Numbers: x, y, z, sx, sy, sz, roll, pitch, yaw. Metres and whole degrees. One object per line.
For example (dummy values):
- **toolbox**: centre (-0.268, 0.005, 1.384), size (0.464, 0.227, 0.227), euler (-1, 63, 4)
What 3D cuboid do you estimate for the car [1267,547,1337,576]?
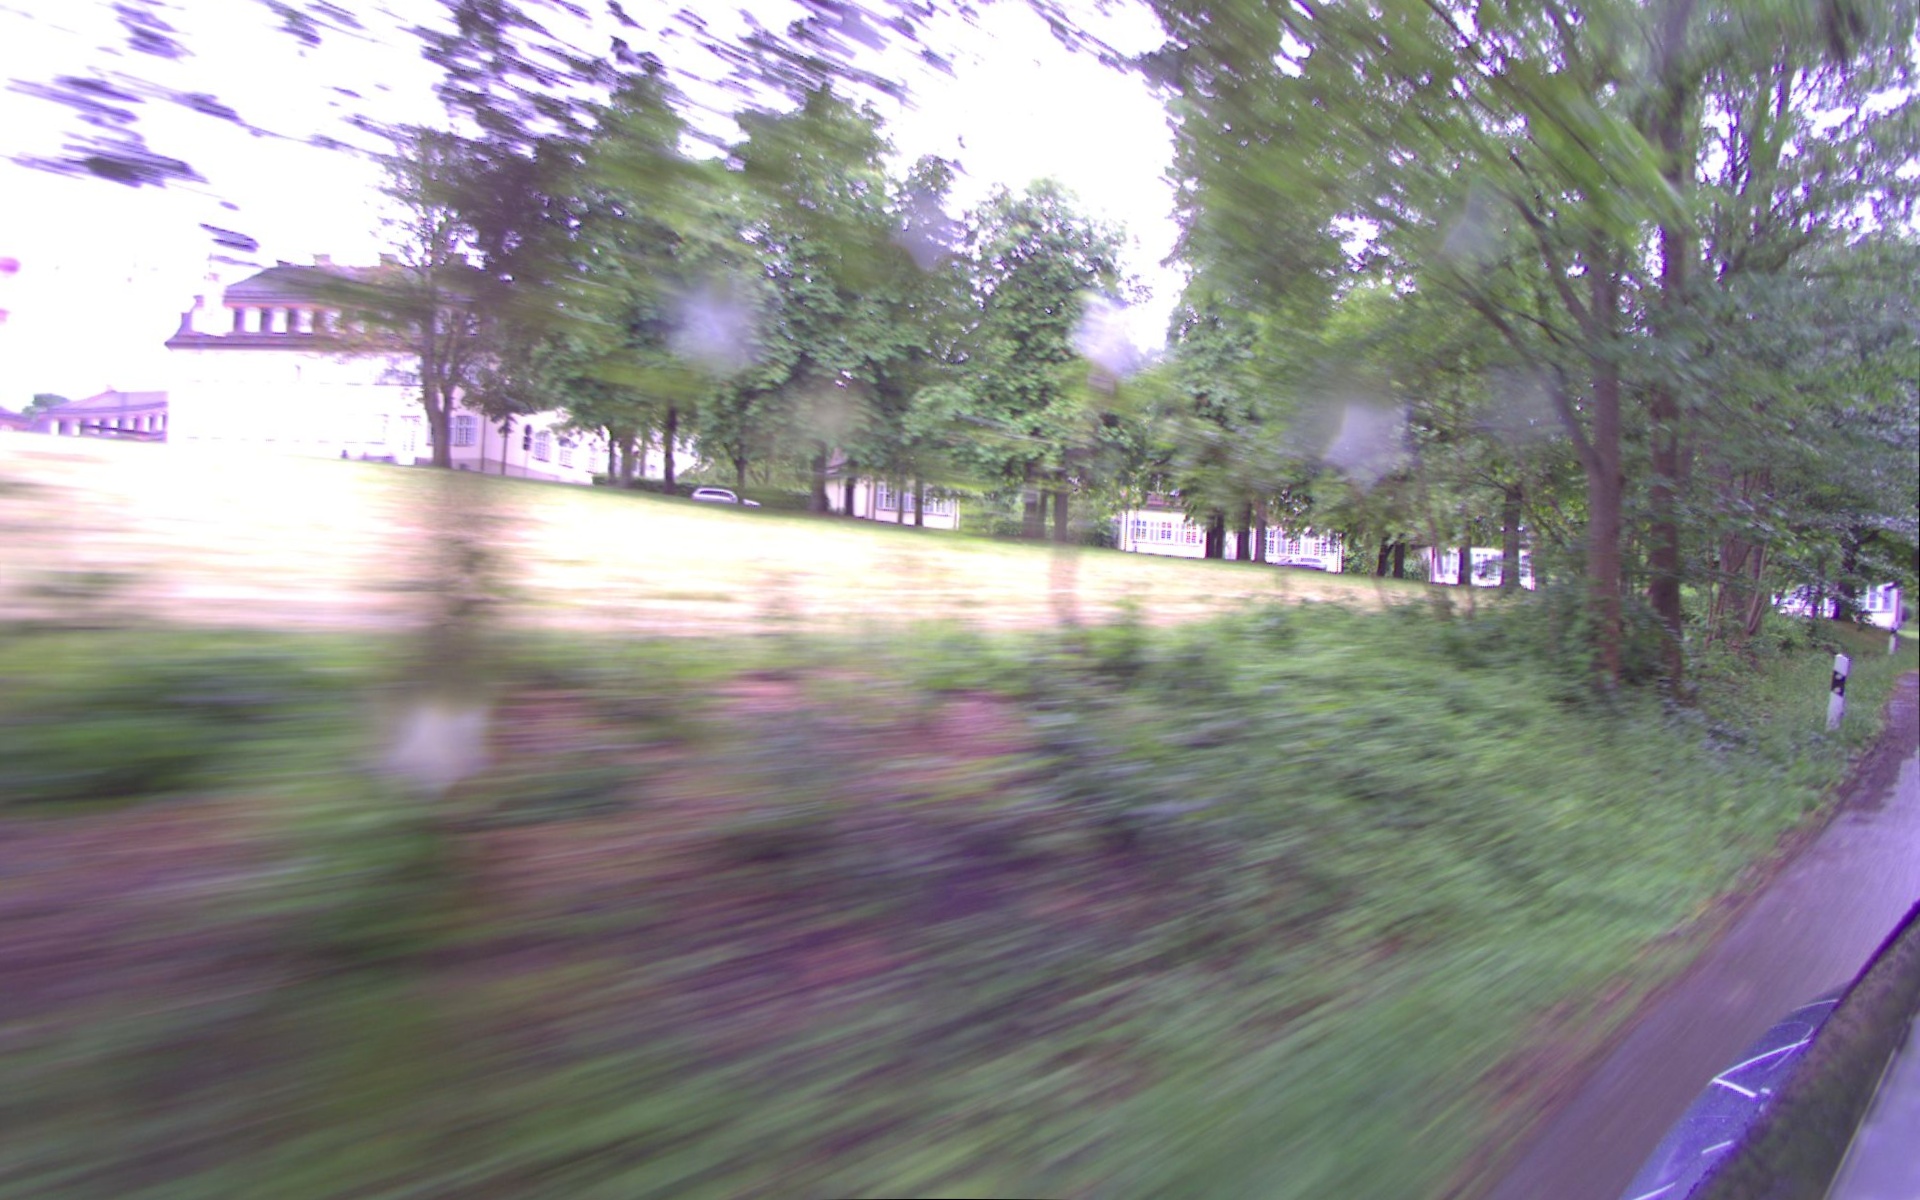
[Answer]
- **car**: centre (25.969, -2.919, 76.946), size (4.481, 1.858, 2.000), euler (4, 1, 1)

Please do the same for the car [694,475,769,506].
- **car**: centre (-14.663, -7.018, 64.986), size (4.219, 1.444, 1.999), euler (6, 4, 4)
